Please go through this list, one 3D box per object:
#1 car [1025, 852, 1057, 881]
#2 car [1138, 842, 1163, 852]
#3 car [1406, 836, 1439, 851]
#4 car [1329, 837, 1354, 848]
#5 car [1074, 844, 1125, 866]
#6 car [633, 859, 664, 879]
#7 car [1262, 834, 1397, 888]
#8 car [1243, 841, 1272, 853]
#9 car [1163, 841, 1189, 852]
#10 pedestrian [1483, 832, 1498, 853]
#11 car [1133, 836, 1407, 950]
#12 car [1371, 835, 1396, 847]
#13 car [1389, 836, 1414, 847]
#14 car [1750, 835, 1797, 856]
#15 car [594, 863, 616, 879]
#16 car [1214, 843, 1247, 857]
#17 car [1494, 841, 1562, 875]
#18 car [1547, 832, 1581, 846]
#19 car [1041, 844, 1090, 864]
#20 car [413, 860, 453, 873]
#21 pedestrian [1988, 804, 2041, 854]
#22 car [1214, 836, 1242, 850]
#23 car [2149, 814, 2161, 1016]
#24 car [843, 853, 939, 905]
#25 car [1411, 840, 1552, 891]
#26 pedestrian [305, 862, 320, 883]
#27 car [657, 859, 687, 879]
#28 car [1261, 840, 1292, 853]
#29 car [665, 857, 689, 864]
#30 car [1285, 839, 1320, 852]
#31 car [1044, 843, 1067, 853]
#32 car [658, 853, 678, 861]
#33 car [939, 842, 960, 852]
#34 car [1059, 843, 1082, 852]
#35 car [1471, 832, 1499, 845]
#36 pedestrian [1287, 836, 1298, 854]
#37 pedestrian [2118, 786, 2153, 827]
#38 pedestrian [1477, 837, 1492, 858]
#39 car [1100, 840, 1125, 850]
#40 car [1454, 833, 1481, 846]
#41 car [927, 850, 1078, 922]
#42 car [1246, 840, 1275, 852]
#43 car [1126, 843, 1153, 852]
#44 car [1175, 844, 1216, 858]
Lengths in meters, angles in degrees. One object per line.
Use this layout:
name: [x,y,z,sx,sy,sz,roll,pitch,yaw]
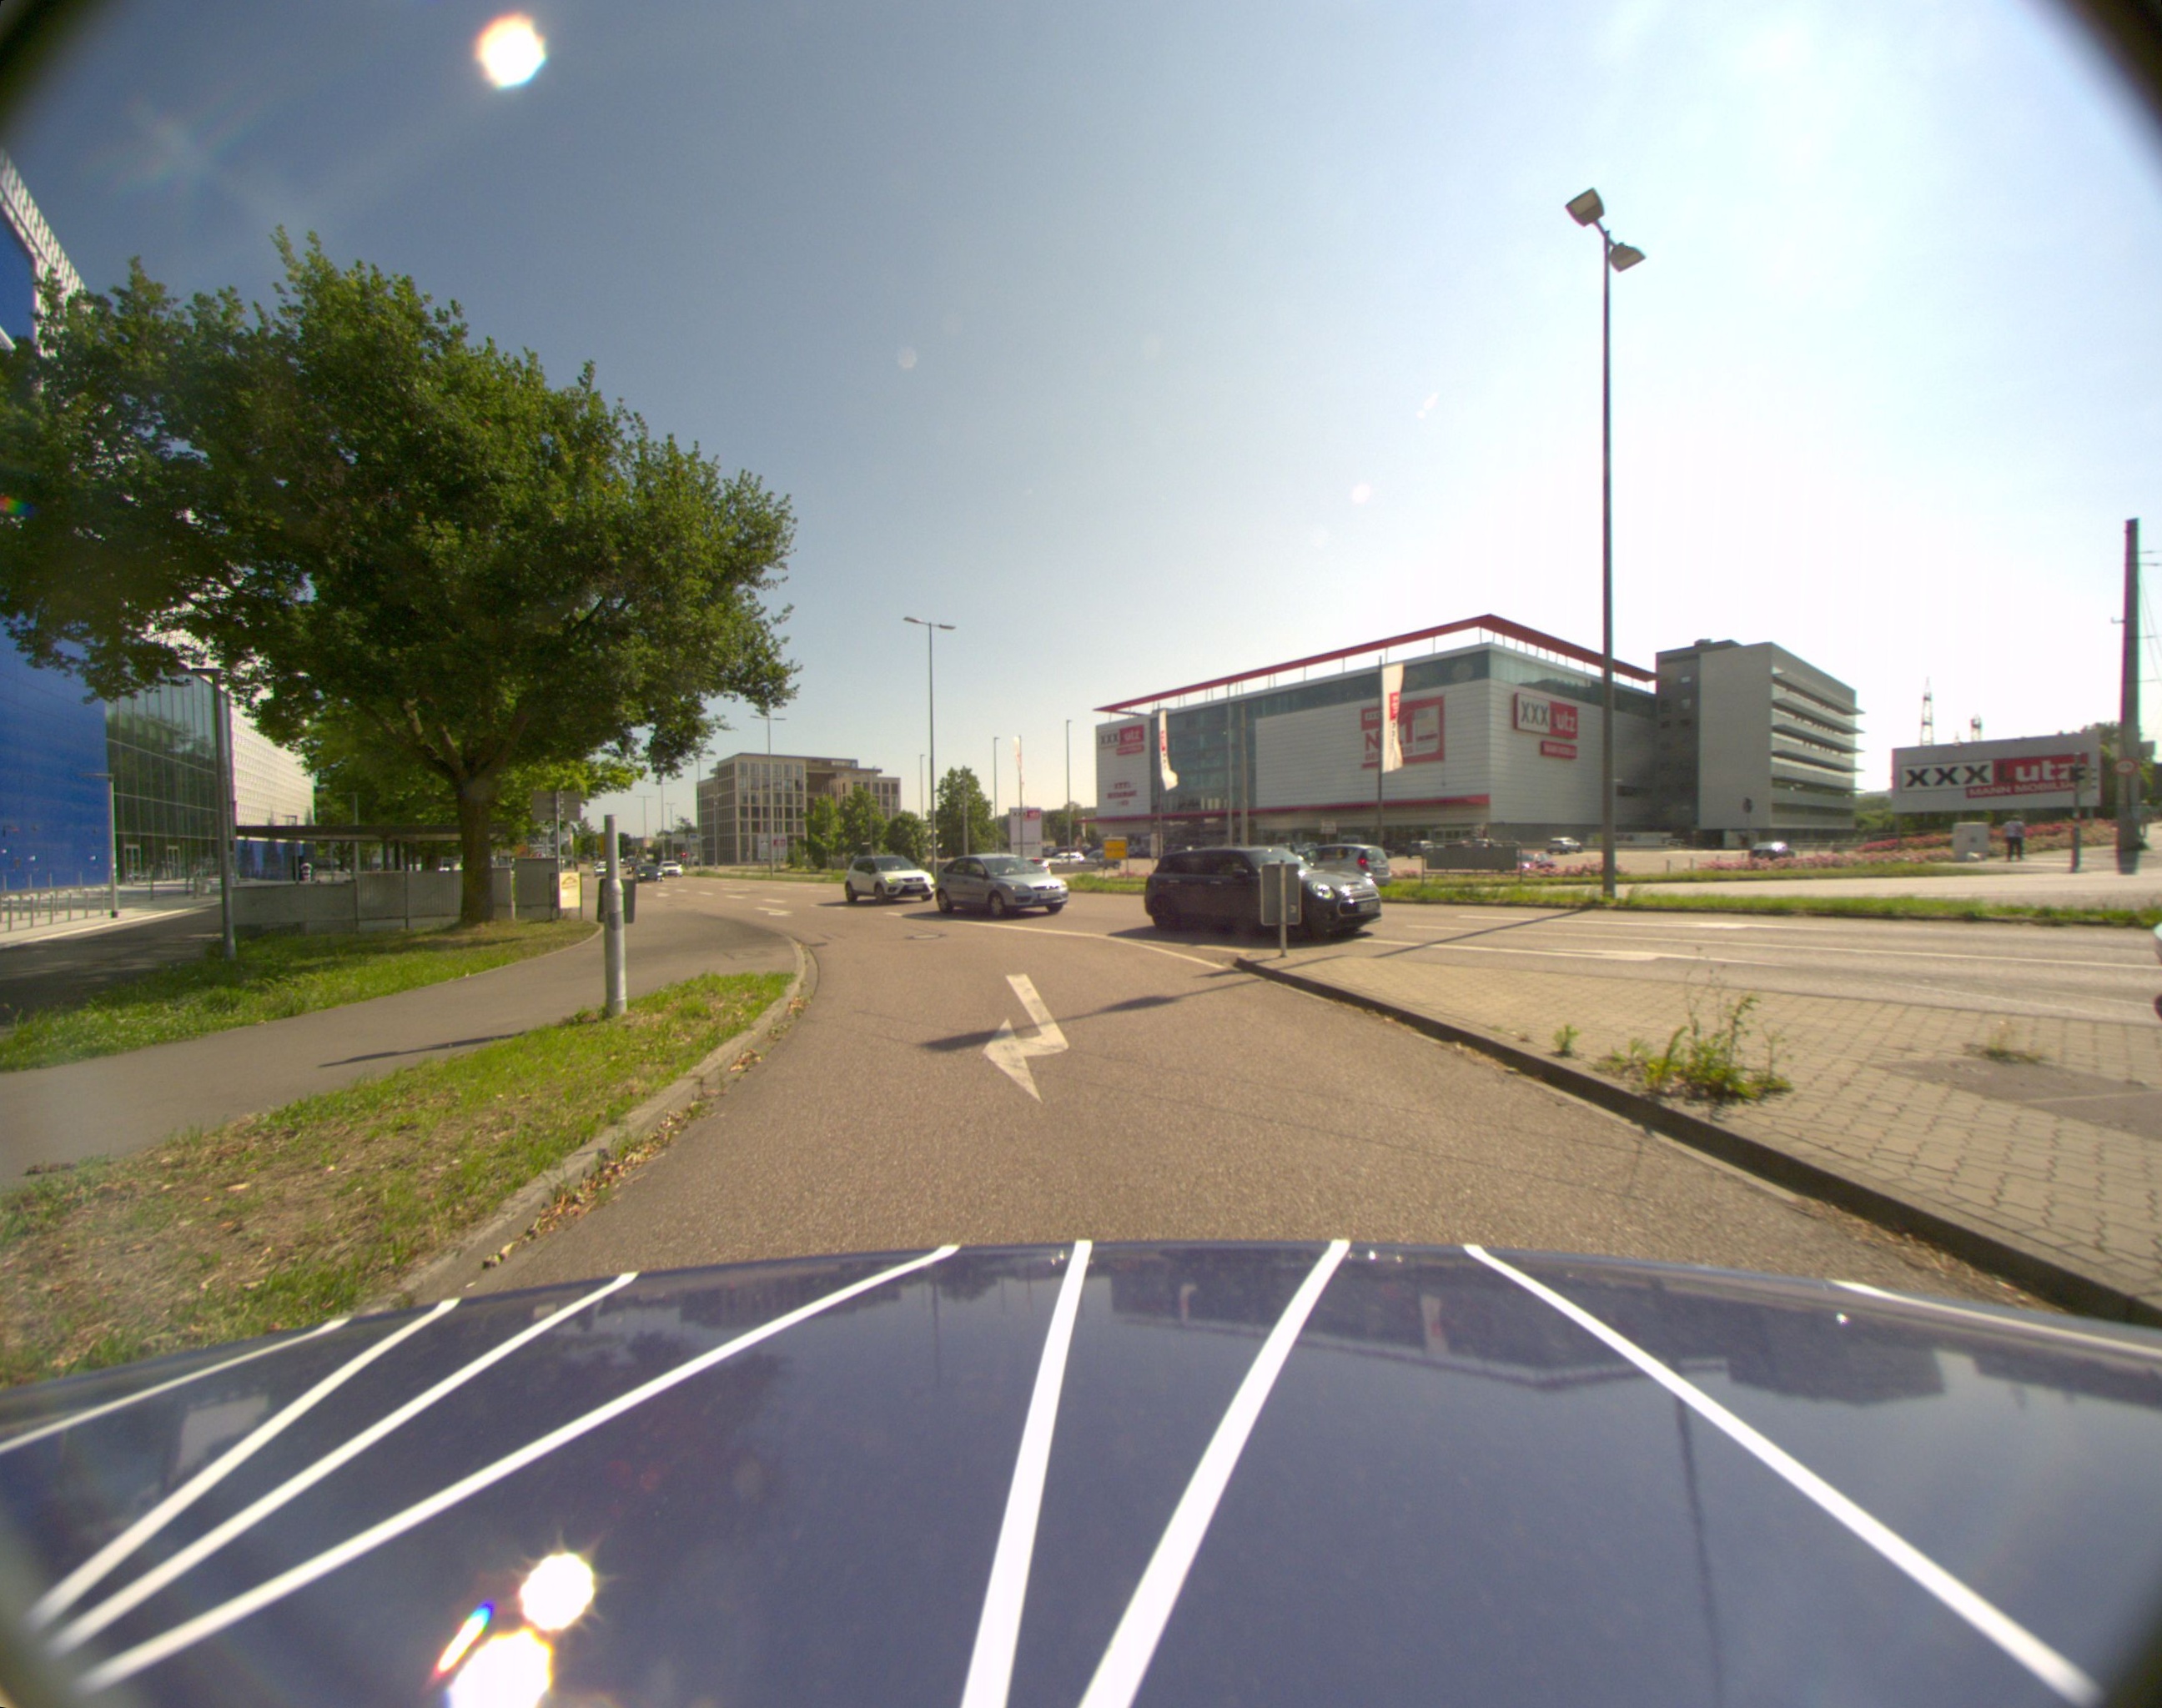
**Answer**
car: [-2.506,0.728,46.975,1.799,1.538,4.084,-2,2,-5]
car: [9.165,-0.943,100.201,3.103,1.322,1.511,-3,3,-38]
car: [33.723,-1.037,75.056,3.103,1.322,1.774,-3,3,-38]
car: [32.392,-1.467,94.477,3.103,1.218,1.511,-3,3,-38]
car: [1.737,0.041,69.830,4.435,1.832,1.940,-2,2,-38]
car: [-36.566,1.268,64.156,1.775,1.456,4.227,-4,3,-35]
car: [8.142,0.267,25.163,1.635,1.615,3.906,-3,0,-40]
car: [20.074,-0.828,86.384,3.103,1.322,1.511,-3,3,-38]
car: [12.014,-0.921,96.304,3.103,1.286,1.511,-3,3,-38]
pedestrian: [40.688,-1.142,75.455,0.951,2.002,0.973,-2,1,-36]
car: [2.942,0.549,12.627,1.746,1.503,4.189,-4,2,-37]
car: [36.427,-1.570,91.432,3.103,1.322,1.511,-3,3,-38]
car: [37.322,-1.489,88.553,3.103,1.260,1.362,-3,3,-38]
car: [46.453,-0.585,50.950,3.866,1.322,1.724,-3,3,-38]
car: [-58.330,2.044,93.129,1.837,1.703,3.755,-3,3,-37]
car: [14.890,-0.432,75.533,3.103,1.322,1.511,-3,3,-38]
car: [23.453,0.169,39.802,4.204,1.597,1.821,-3,3,-42]
car: [47.889,-1.475,75.325,3.680,1.322,1.746,-3,3,-38]
car: [-1.495,0.000,73.544,4.434,1.619,1.866,-5,4,-39]
car: [-107.416,2.023,125.994,5.009,1.996,1.736,-2,3,-39]
pedestrian: [32.691,-0.867,26.618,0.906,1.697,0.841,-1,1,-12]
car: [19.016,-1.417,98.357,3.579,1.621,1.658,-3,1,-42]
car: [9.321,0.414,3.899,1.750,1.440,4.377,-4,2,-38]
car: [-6.288,0.833,24.923,1.639,1.489,3.860,-4,0,-36]
car: [8.709,0.235,16.642,1.123,0.998,2.485,-2,1,-35]
pedestrian: [-59.057,1.420,58.370,0.691,1.602,0.769,-2,1,-41]
car: [-41.257,1.493,76.577,2.030,1.828,4.299,-3,3,-37]
car: [21.658,-0.792,84.296,3.421,1.322,1.585,-3,1,-39]
car: [-90.392,1.456,169.934,4.490,1.578,1.974,-2,1,-36]
car: [24.103,-0.923,82.617,4.322,1.322,1.511,-3,3,-38]
car: [-3.921,-0.938,117.499,3.230,1.322,1.511,-3,3,-38]
car: [-106.458,0.672,195.970,4.002,2.002,1.997,-1,1,-16]
car: [-21.366,-1.194,123.142,2.781,1.547,1.769,-2,1,-38]
car: [-1.534,-1.040,116.187,3.230,1.322,1.511,-3,3,-38]
car: [43.418,-1.652,81.705,3.103,1.322,1.511,-3,3,-38]
pedestrian: [22.021,-0.946,79.041,0.858,1.847,0.750,-2,1,-37]
pedestrian: [51.383,-2.317,37.023,0.719,1.961,0.915,-3,3,-33]
pedestrian: [39.749,-0.607,74.890,0.951,2.002,0.973,-2,1,-36]
car: [4.455,-1.232,105.787,3.103,1.322,1.699,-3,3,-38]
car: [42.707,-1.571,83.898,3.103,1.322,1.511,-3,3,-38]
car: [-2.060,0.733,18.918,1.715,1.564,4.163,-2,0,-39]
car: [20.419,-0.895,86.450,3.103,1.322,1.511,-3,3,-38]
car: [7.867,-0.903,102.430,3.516,1.192,1.476,-3,3,-38]
car: [12.071,-0.317,80.009,4.511,1.322,1.511,-3,3,-38]
